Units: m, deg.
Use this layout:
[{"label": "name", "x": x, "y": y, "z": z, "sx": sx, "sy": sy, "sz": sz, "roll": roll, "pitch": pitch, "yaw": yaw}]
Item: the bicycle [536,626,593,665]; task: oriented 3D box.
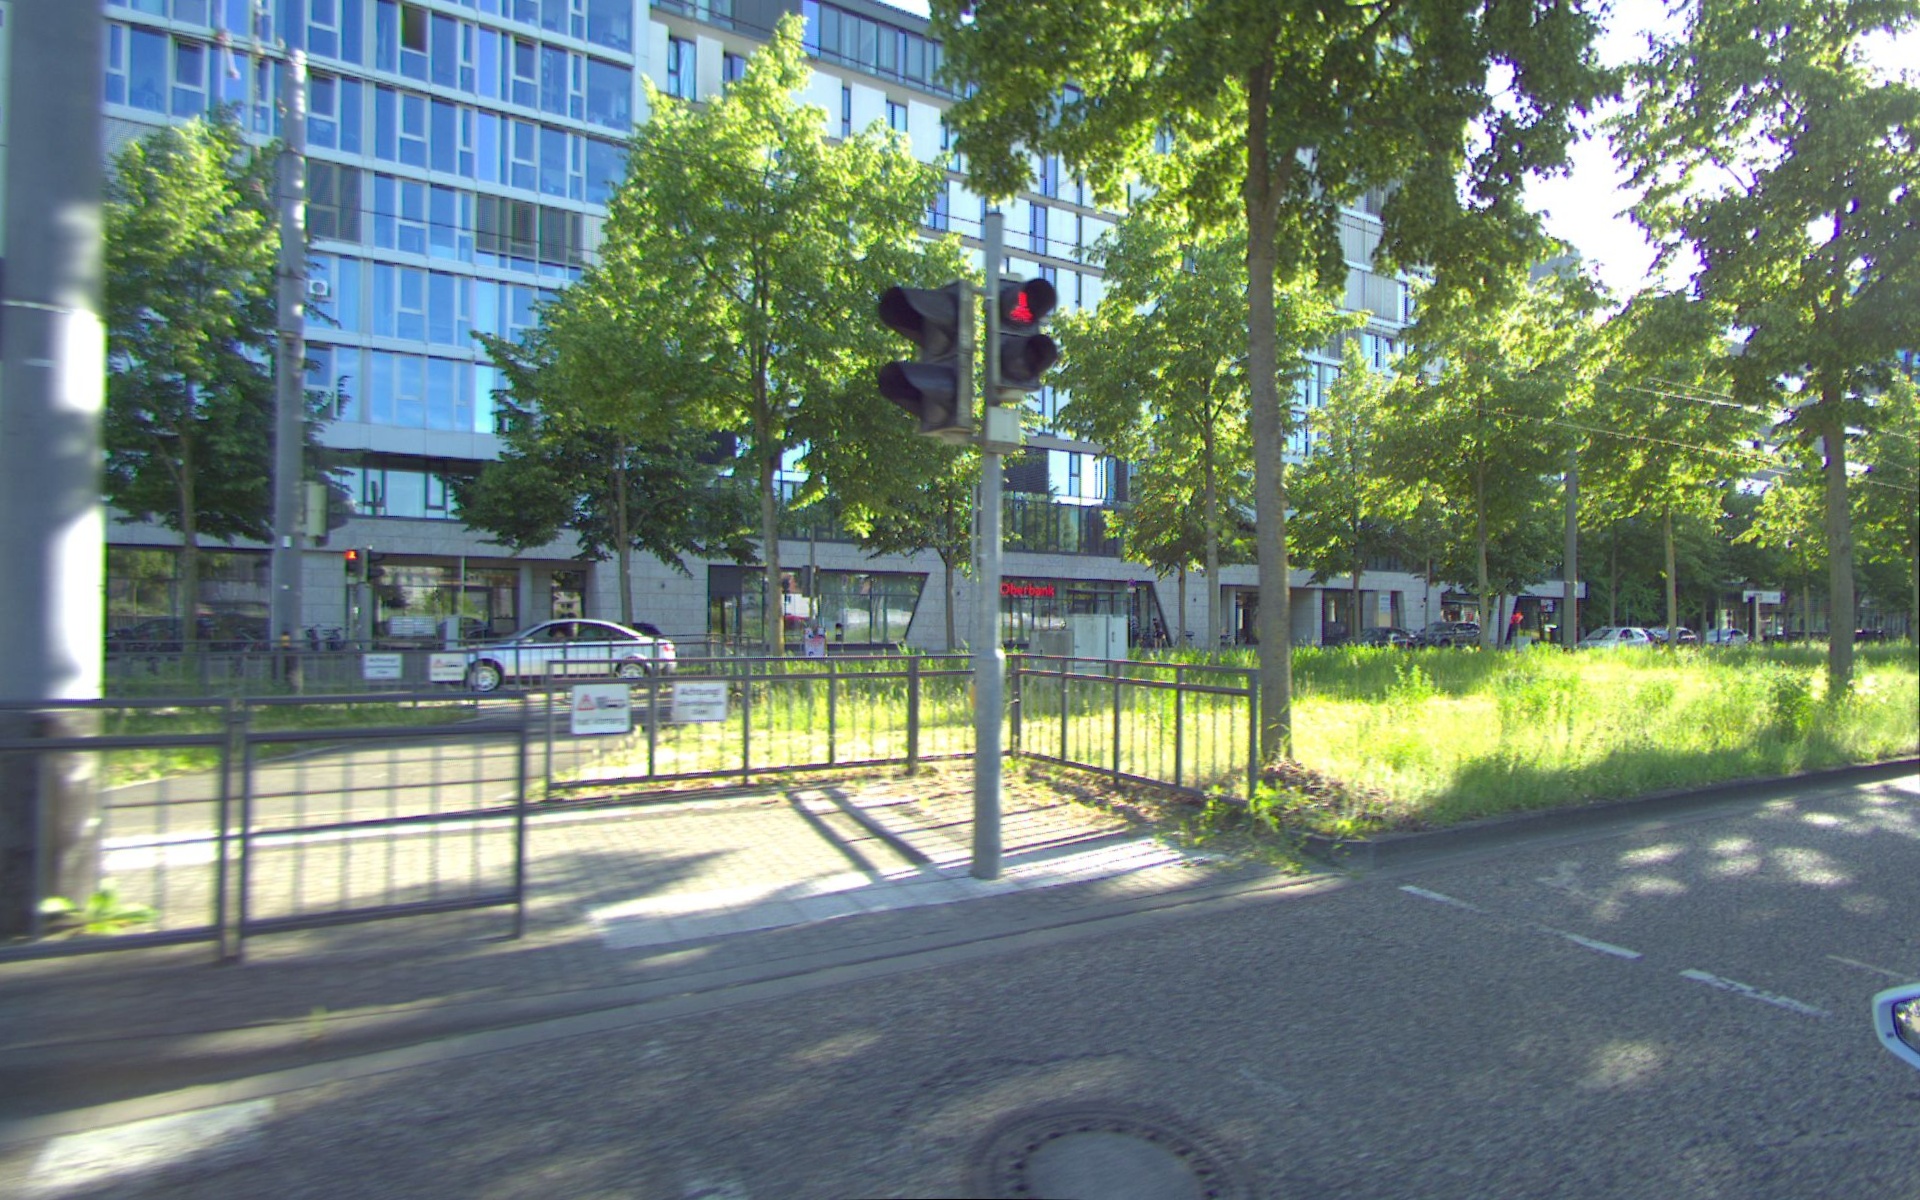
[{"label": "bicycle", "x": -12.075, "y": 1.384, "z": 30.638, "sx": 1.551, "sy": 1.135, "sz": 0.729, "roll": 1, "pitch": 0, "yaw": -28}]

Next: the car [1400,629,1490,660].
[{"label": "car", "x": 23.873, "y": 2.164, "z": 49.406, "sx": 4.748, "sy": 1.438, "sz": 1.660, "roll": 1, "pitch": -1, "yaw": -30}]

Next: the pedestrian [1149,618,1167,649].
[{"label": "pedestrian", "x": 9.568, "y": 1.623, "z": 48.529, "sx": 0.682, "sy": 1.431, "sz": 0.406, "roll": 3, "pitch": -1, "yaw": -30}]

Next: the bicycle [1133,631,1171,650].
[{"label": "bicycle", "x": 9.367, "y": 1.959, "z": 48.973, "sx": 1.991, "sy": 0.892, "sz": 0.539, "roll": 2, "pitch": -1, "yaw": -30}]

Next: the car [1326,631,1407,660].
[{"label": "car", "x": 18.843, "y": 2.107, "z": 46.498, "sx": 3.541, "sy": 1.223, "sz": 1.660, "roll": 3, "pitch": -1, "yaw": -30}]

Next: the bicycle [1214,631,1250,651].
[{"label": "bicycle", "x": 14.081, "y": 2.112, "z": 51.930, "sx": 1.960, "sy": 0.985, "sz": 0.539, "roll": 3, "pitch": -1, "yaw": -30}]

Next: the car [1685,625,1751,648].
[{"label": "car", "x": 47.643, "y": 2.284, "z": 63.127, "sx": 4.490, "sy": 1.439, "sz": 1.707, "roll": 1, "pitch": -1, "yaw": -30}]

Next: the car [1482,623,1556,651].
[{"label": "car", "x": 29.095, "y": 1.914, "z": 52.248, "sx": 3.709, "sy": 1.372, "sz": 1.725, "roll": 1, "pitch": -1, "yaw": -30}]

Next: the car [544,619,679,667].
[{"label": "car", "x": -10.153, "y": 1.249, "z": 29.295, "sx": 3.425, "sy": 1.251, "sz": 1.642, "roll": 3, "pitch": -1, "yaw": -30}]

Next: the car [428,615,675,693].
[{"label": "car", "x": -8.280, "y": 1.044, "z": 20.460, "sx": 4.456, "sy": 1.422, "sz": 1.809, "roll": 1, "pitch": -1, "yaw": -30}]

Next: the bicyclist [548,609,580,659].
[{"label": "bicyclist", "x": -12.072, "y": 1.033, "z": 30.640, "sx": 0.821, "sy": 1.483, "sz": 0.717, "roll": 1, "pitch": 0, "yaw": -28}]

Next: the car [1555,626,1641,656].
[{"label": "car", "x": 27.987, "y": 1.780, "z": 44.044, "sx": 3.441, "sy": 1.254, "sz": 1.762, "roll": 1, "pitch": -1, "yaw": -29}]
